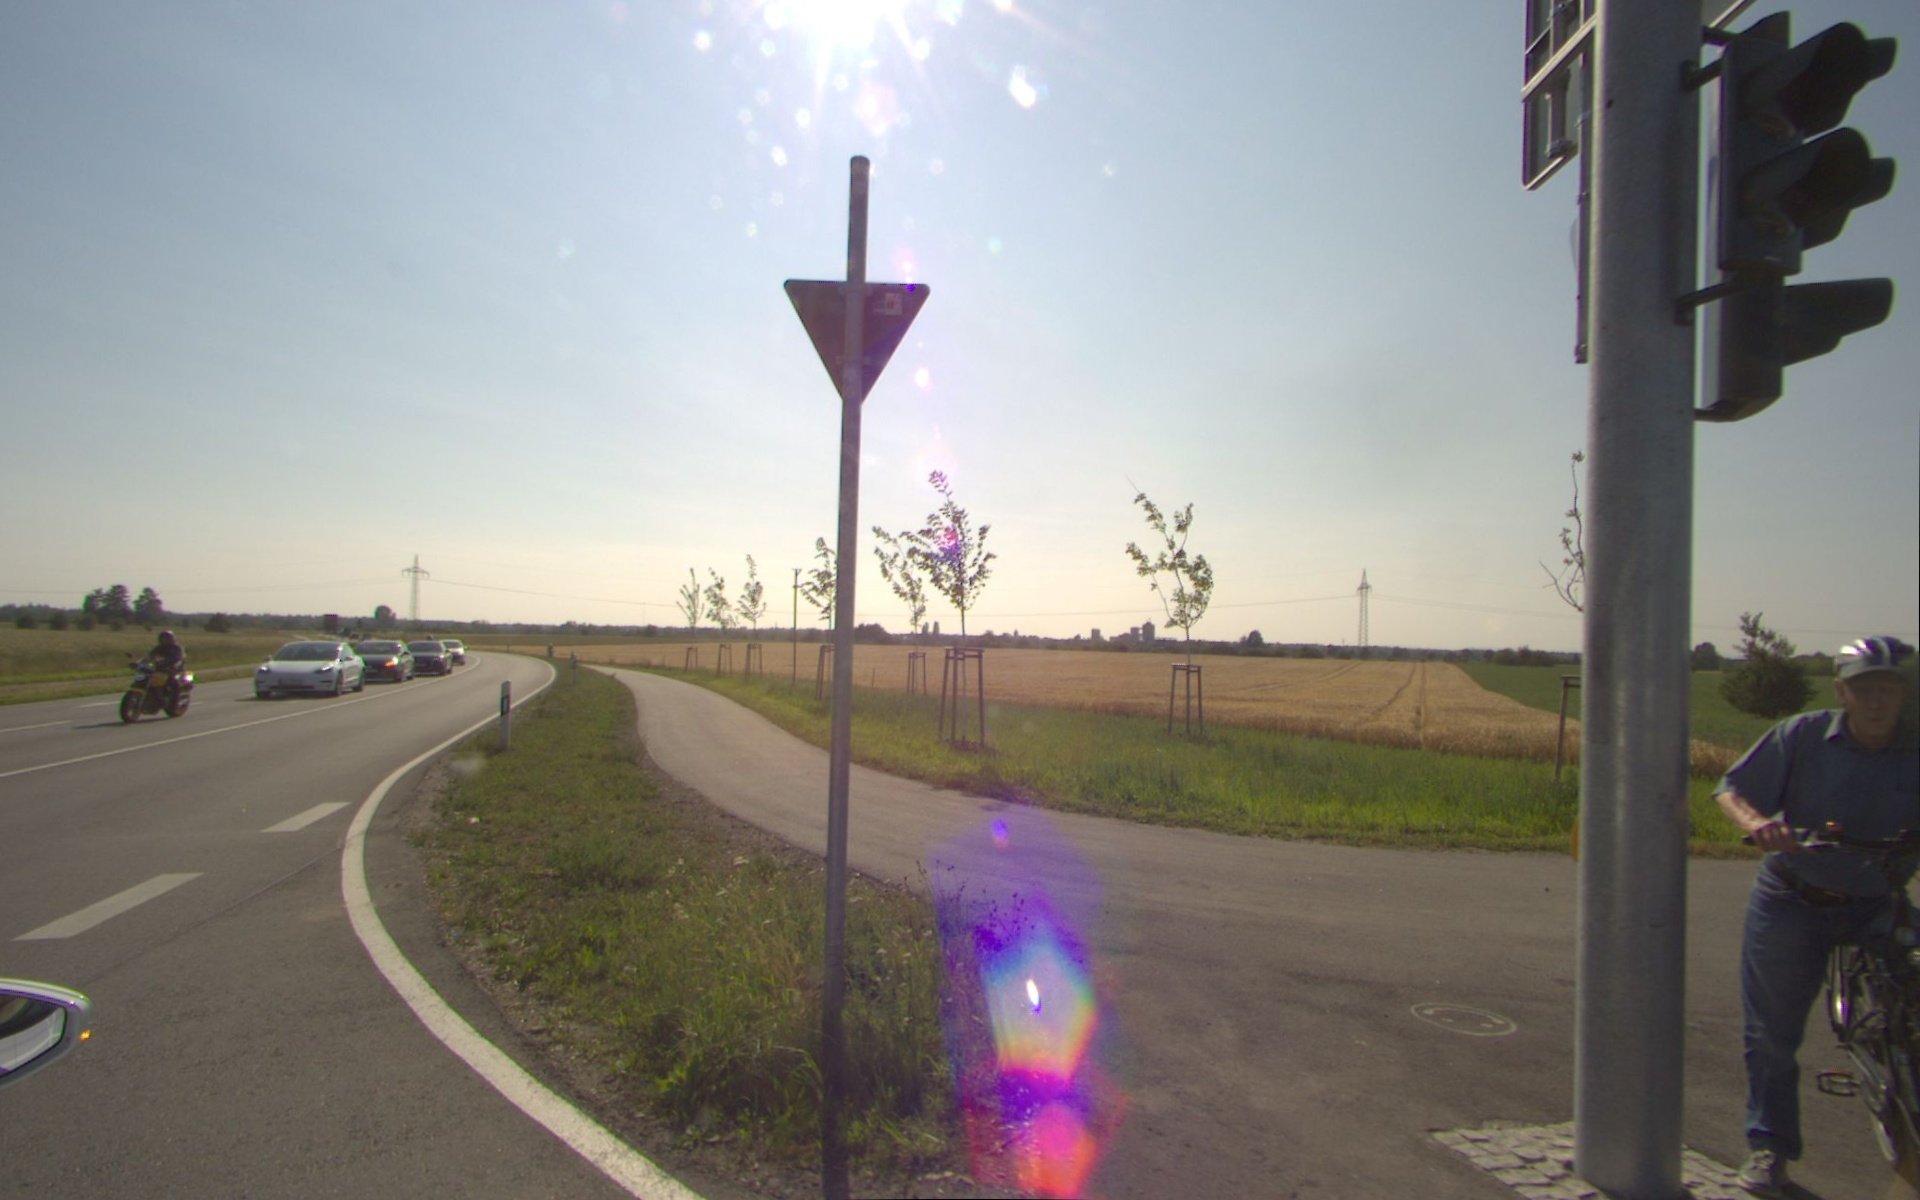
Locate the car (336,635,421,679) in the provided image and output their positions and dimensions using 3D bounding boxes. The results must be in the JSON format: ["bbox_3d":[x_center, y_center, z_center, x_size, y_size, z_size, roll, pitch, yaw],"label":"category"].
[{"bbox_3d":[-20.679,2.010,35.781,1.864,1.479,4.297,2,-3,-20],"label":"car"}]

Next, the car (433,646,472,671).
[{"bbox_3d":[-30.550,3.508,60.371,1.664,1.421,3.990,1,-2,-21],"label":"car"}]

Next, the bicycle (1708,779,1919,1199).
[{"bbox_3d":[2.552,1.135,2.658,0.671,1.164,1.939,-1,-6,31],"label":"bicycle"}]

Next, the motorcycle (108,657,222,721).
[{"bbox_3d":[-14.816,1.624,18.756,0.884,1.057,2.424,1,-2,-19],"label":"motorcycle"}]

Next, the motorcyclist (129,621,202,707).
[{"bbox_3d":[-14.795,1.175,18.679,0.669,1.535,1.179,1,-1,-18],"label":"motorcyclist"}]

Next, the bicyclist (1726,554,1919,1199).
[{"bbox_3d":[2.502,0.828,2.639,0.611,1.786,0.914,-1,-6,31],"label":"bicyclist"}]

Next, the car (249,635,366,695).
[{"bbox_3d":[-17.549,1.693,27.138,1.865,1.485,4.264,1,-2,-22],"label":"car"}]

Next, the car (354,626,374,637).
[{"bbox_3d":[-120.371,6.372,202.245,4.411,1.855,1.835,1,-4,39],"label":"car"}]

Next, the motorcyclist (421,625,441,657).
[{"bbox_3d":[-25.120,1.932,47.560,0.668,1.514,0.845,1,-2,-20],"label":"motorcyclist"}]

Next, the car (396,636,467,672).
[{"bbox_3d":[-22.571,2.292,42.944,1.863,1.454,4.789,1,-3,-18],"label":"car"}]
